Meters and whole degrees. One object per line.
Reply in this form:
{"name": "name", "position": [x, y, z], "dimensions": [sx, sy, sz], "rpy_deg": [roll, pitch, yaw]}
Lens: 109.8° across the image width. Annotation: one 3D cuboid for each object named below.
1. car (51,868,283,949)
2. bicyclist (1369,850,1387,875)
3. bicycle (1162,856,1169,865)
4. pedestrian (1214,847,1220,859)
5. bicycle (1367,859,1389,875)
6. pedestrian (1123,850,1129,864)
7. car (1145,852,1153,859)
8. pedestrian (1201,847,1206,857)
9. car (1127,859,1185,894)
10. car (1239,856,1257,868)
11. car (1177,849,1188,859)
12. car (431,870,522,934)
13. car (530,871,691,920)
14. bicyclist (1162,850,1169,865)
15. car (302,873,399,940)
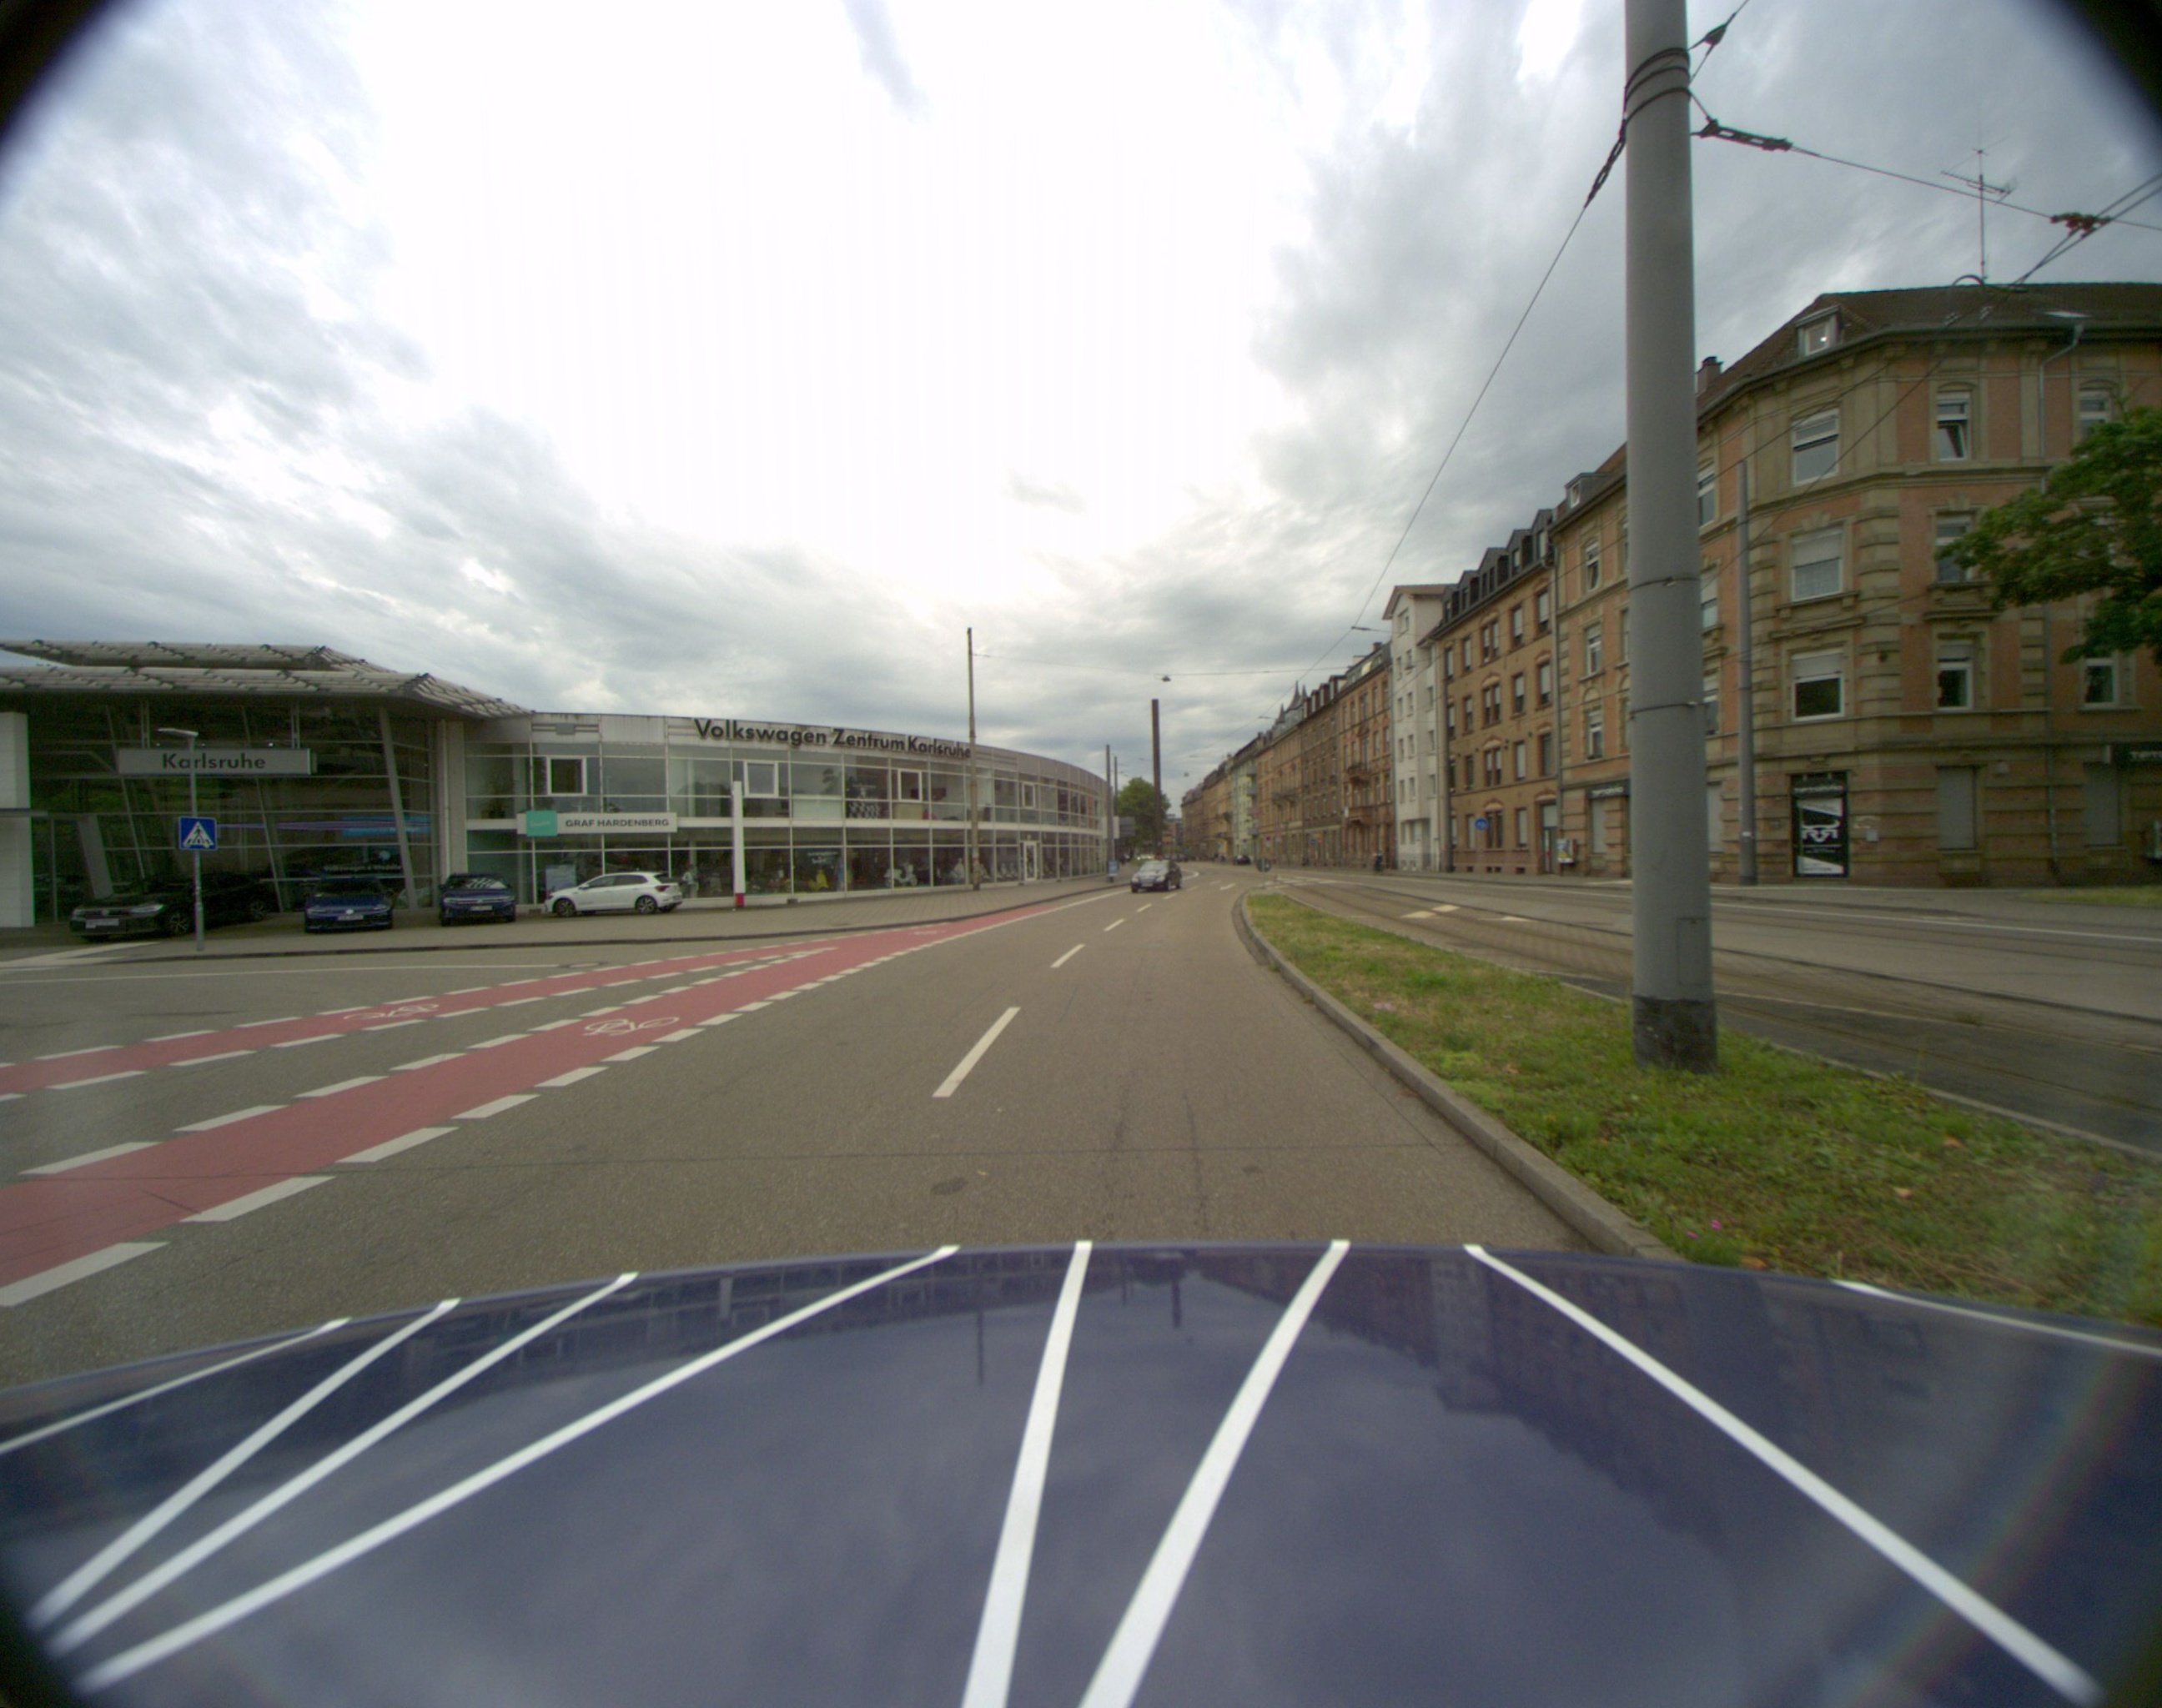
{"name": "car", "position": [-25.618, 1.432, 21.611], "dimensions": [1.862, 1.624, 4.500], "rpy_deg": [-3, 4, -15]}
{"name": "bicyclist", "position": [18.388, 0.514, 47.042], "dimensions": [0.663, 1.486, 0.942], "rpy_deg": [-2, 1, -1]}
{"name": "bicycle", "position": [10.258, 0.814, 92.473], "dimensions": [0.726, 1.003, 2.178], "rpy_deg": [-1, 0, 10]}
{"name": "pedestrian", "position": [23.979, -0.163, 133.992], "dimensions": [0.810, 2.002, 0.700], "rpy_deg": [-2, 1, 3]}
{"name": "bicycle", "position": [18.398, 0.801, 47.097], "dimensions": [0.607, 0.910, 1.719], "rpy_deg": [-2, 0, -1]}
{"name": "pedestrian", "position": [6.248, 0.423, 105.359], "dimensions": [0.871, 1.843, 0.706], "rpy_deg": [-1, 1, 3]}
{"name": "car", "position": [16.482, 0.464, 185.254], "dimensions": [1.802, 1.630, 4.231], "rpy_deg": [-1, 0, 4]}
{"name": "pedestrian", "position": [23.635, -0.381, 147.063], "dimensions": [0.814, 2.002, 0.733], "rpy_deg": [-1, 1, 3]}
{"name": "car", "position": [3.508, 0.977, 34.830], "dimensions": [1.712, 1.413, 4.075], "rpy_deg": [-1, 0, 19]}
{"name": "car", "position": [21.813, 0.971, 99.433], "dimensions": [1.852, 1.471, 3.829], "rpy_deg": [-2, 0, 5]}
{"name": "car", "position": [18.596, -0.013, 139.285], "dimensions": [1.802, 1.630, 4.231], "rpy_deg": [-1, 0, 4]}
{"name": "car", "position": [-18.908, 1.402, 23.702], "dimensions": [1.905, 1.554, 4.207], "rpy_deg": [-2, 3, -42]}
{"name": "car", "position": [-15.920, 1.370, 25.902], "dimensions": [4.262, 1.444, 1.782], "rpy_deg": [-2, 0, -7]}
{"name": "bicyclist", "position": [10.258, 0.454, 92.466], "dimensions": [0.730, 1.747, 0.911], "rpy_deg": [-1, 1, 9]}
{"name": "car", "position": [-21.343, 1.440, 22.216], "dimensions": [1.862, 1.496, 4.325], "rpy_deg": [-2, 4, -44]}
